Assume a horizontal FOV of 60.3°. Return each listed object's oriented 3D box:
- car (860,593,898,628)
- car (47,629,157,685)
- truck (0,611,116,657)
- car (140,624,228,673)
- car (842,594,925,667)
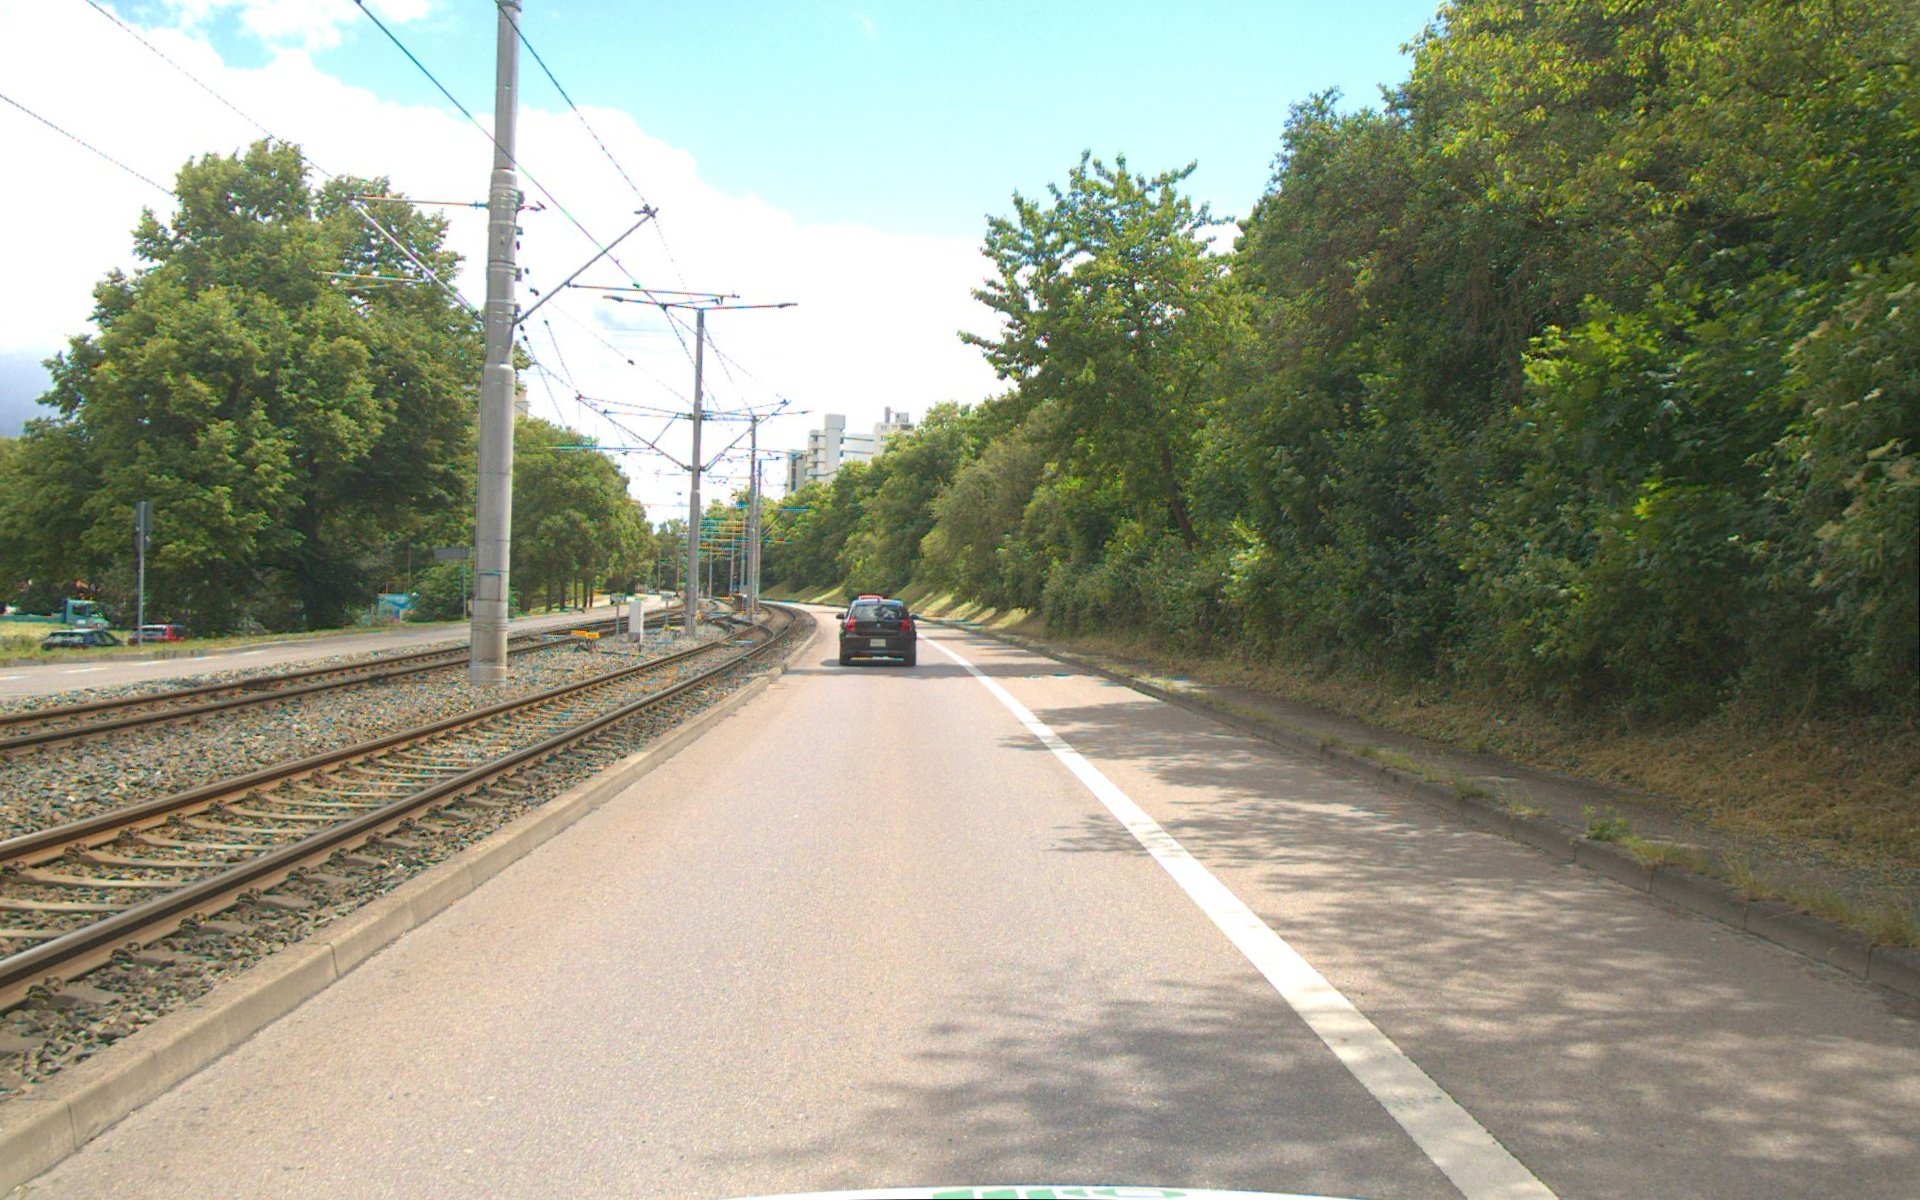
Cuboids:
[{"bbox_3d":[-3.792,0.506,77.763,1.591,1.469,3.421,2,-2,0],"label":"car"},{"bbox_3d":[-29.867,1.961,57.681,1.779,1.803,3.999,0,0,-1],"label":"car"},{"bbox_3d":[-58.842,2.163,105.038,8.926,2.742,2.608,-1,-1,-11],"label":"truck"},{"bbox_3d":[-30.399,1.856,64.901,1.780,1.803,3.997,0,0,-4],"label":"car"},{"bbox_3d":[-1.667,0.687,37.187,1.673,1.486,3.959,2,-1,-1],"label":"car"}]
